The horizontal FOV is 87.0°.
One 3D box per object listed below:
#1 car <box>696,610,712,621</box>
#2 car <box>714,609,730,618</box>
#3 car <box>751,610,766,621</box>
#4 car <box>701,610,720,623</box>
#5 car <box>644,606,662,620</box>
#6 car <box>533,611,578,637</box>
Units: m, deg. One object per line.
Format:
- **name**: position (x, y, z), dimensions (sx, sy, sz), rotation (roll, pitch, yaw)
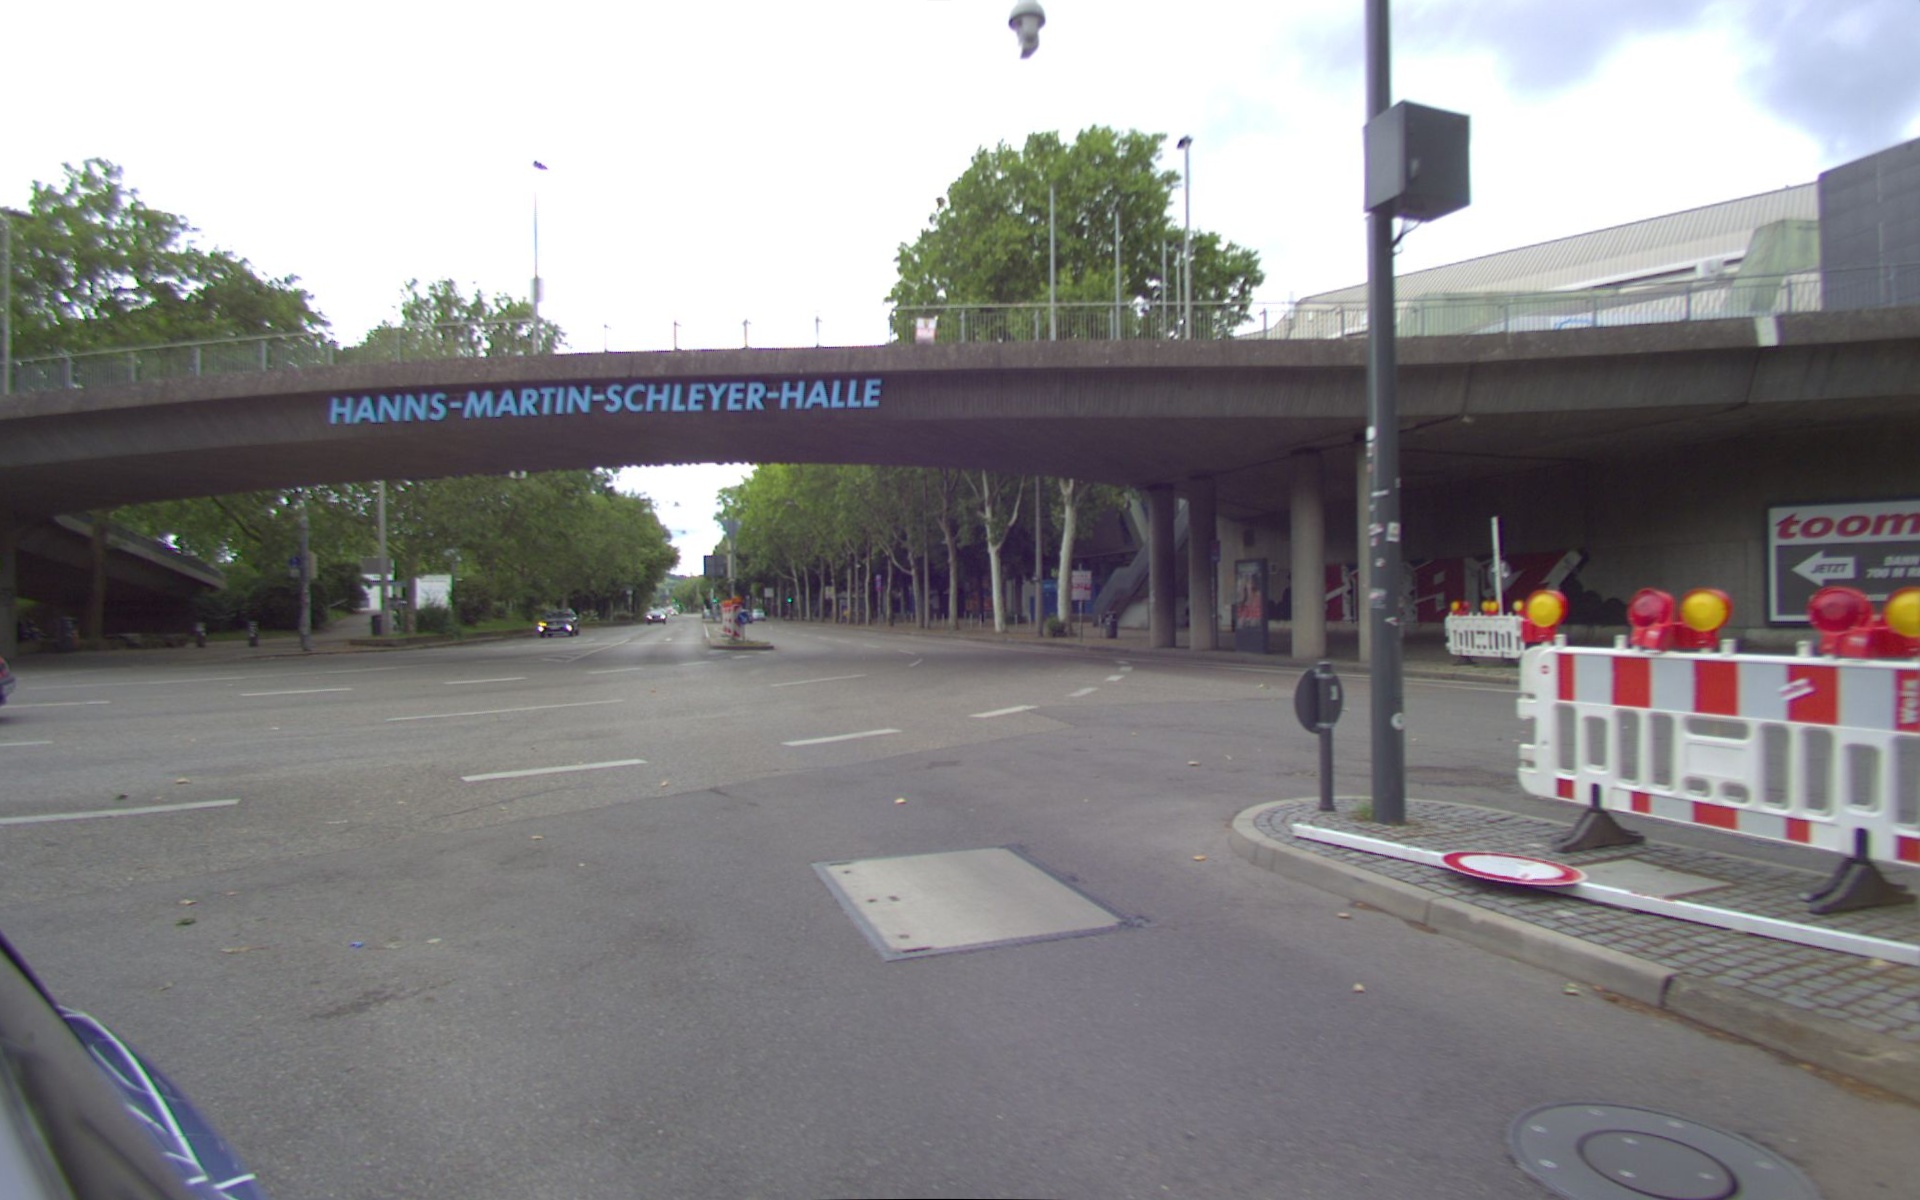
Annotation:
- **car**: position (-41.098, 2.444, 162.135), dimensions (1.965, 1.672, 4.013), rotation (0, 0, -22)
- **car**: position (-39.104, 2.235, 166.212), dimensions (1.818, 1.435, 4.013), rotation (0, -1, -22)
- **car**: position (-25.297, 1.985, 126.802), dimensions (1.588, 1.323, 3.405), rotation (0, 0, -15)
- **car**: position (-27.305, 1.792, 110.626), dimensions (1.966, 1.429, 4.011), rotation (0, 0, -15)
- **car**: position (-31.992, 1.340, 105.560), dimensions (1.734, 1.374, 3.727), rotation (0, 1, -15)
- **car**: position (-22.812, 1.338, 57.179), dimensions (1.734, 1.331, 3.726), rotation (0, 1, -12)
